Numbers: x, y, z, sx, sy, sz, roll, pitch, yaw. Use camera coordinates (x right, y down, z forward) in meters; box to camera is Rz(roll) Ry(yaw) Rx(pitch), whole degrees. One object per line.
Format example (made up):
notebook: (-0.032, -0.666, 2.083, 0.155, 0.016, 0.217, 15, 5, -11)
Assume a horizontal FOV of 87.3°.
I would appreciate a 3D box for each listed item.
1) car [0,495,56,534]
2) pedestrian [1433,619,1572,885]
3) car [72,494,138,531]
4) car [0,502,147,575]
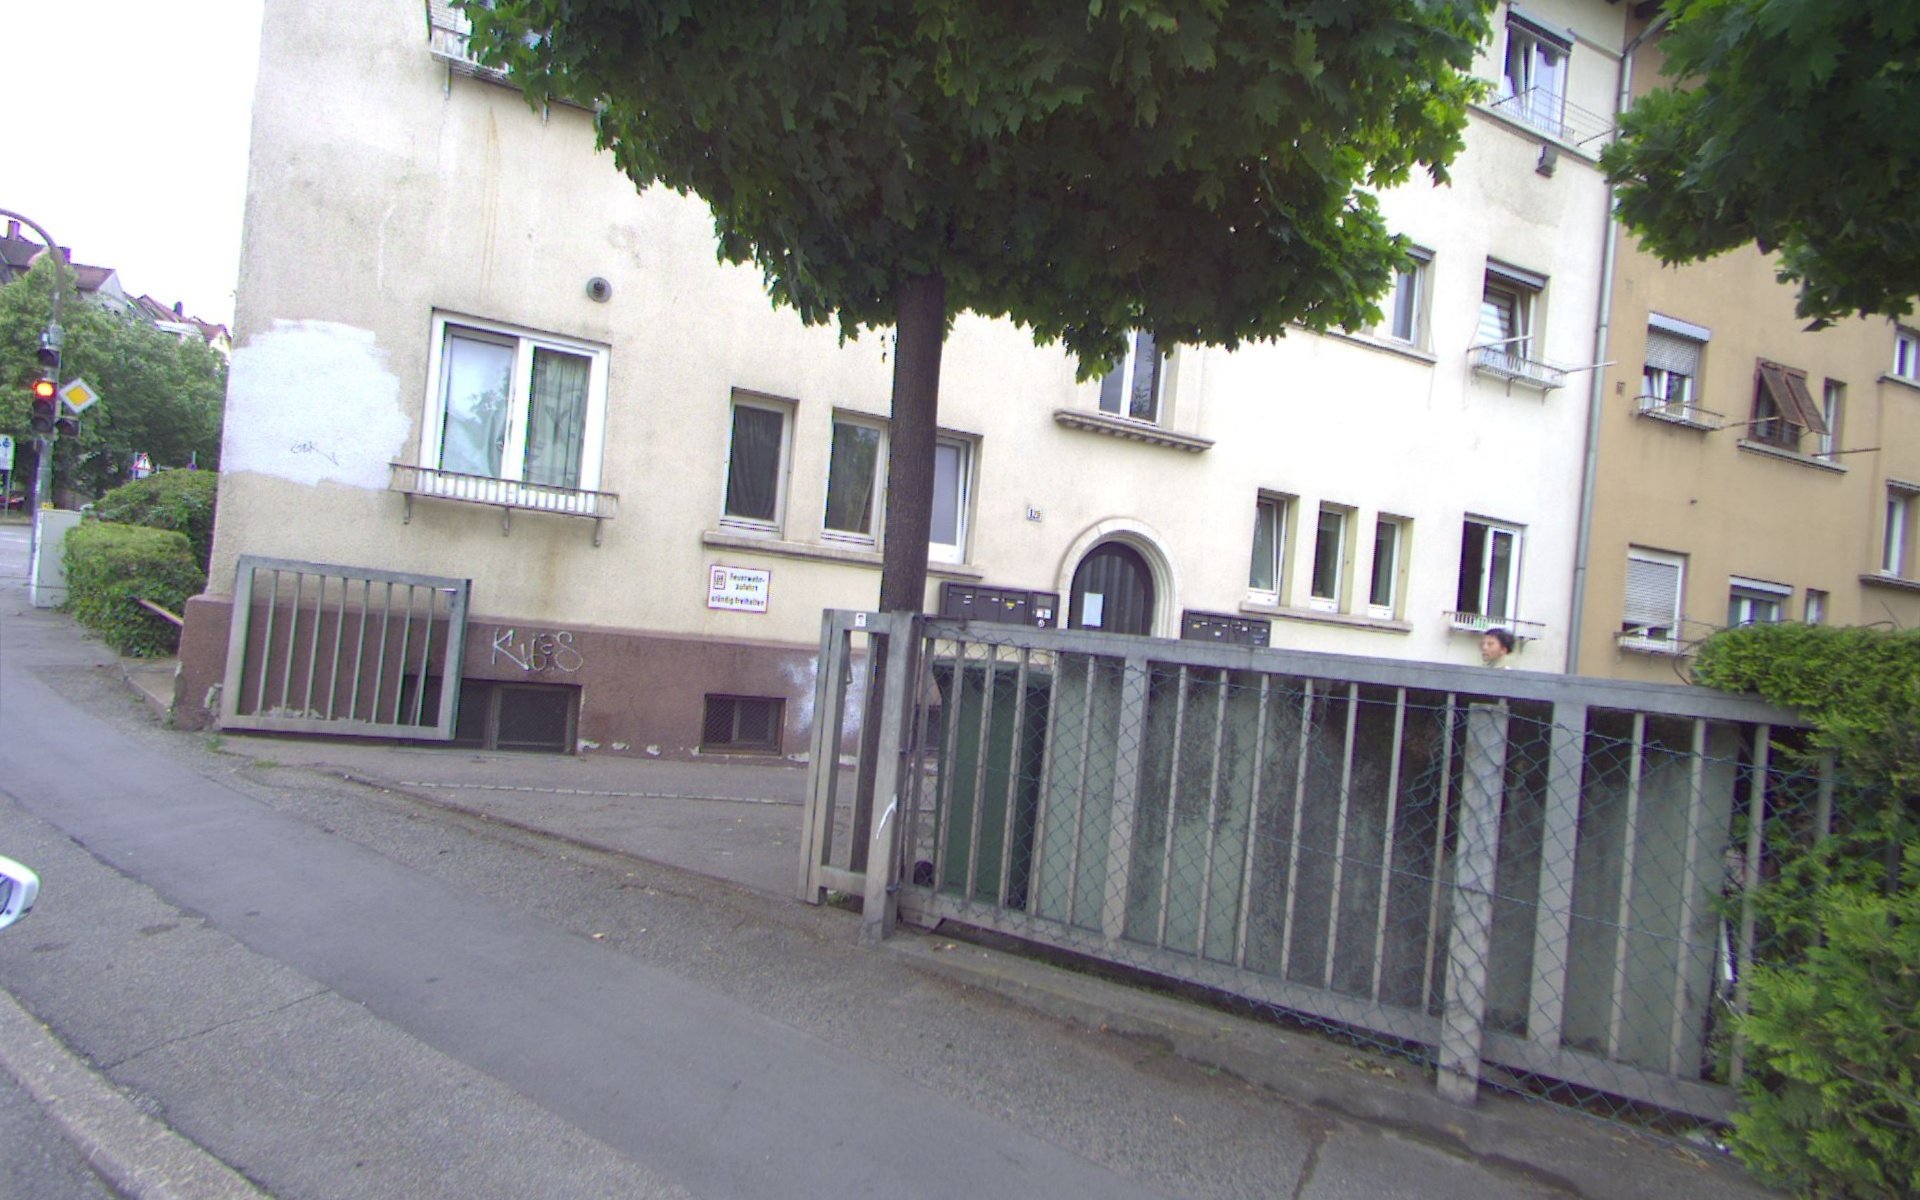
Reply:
car: (-60.877, -5.568, 64.926, 1.970, 2.036, 3.992, 8, -3, -15)
pedestrian: (3.909, 1.065, 7.274, 0.684, 1.759, 0.466, 7, 0, 29)
car: (-63.140, -6.441, 74.382, 1.970, 2.036, 3.992, 8, -3, -15)
car: (-32.967, -2.253, 37.170, 3.928, 2.036, 2.001, 7, -2, -3)
